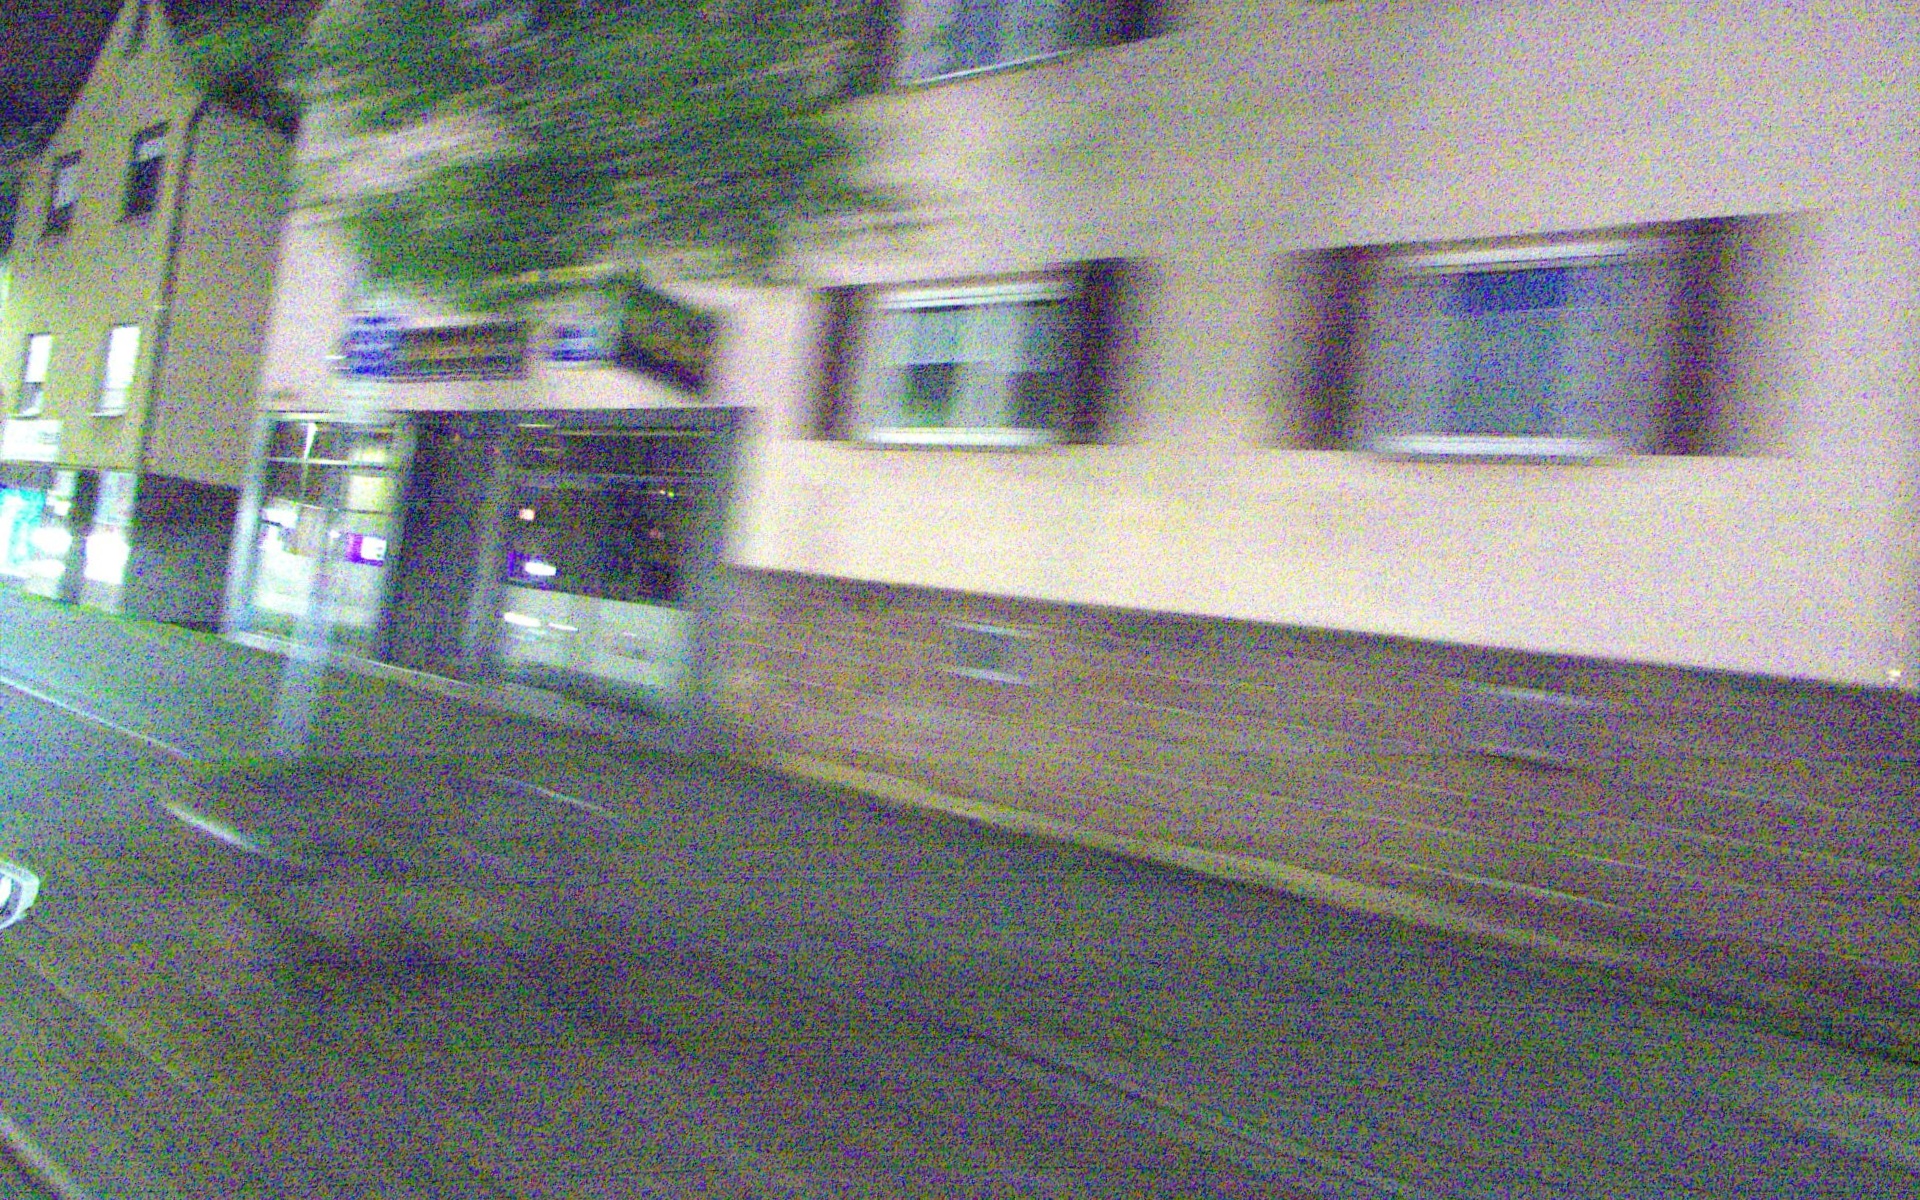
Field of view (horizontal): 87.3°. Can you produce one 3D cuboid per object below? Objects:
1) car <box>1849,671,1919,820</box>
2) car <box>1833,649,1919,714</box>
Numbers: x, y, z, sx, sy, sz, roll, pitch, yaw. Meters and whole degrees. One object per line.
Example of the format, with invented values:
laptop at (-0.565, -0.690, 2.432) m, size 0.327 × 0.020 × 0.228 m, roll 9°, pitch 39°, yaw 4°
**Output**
car at (11.570, 1.735, 11.120) m, size 1.617 × 1.497 × 4.050 m, roll 5°, pitch 2°, yaw 29°
car at (26.451, 2.301, 28.342) m, size 1.718 × 1.501 × 4.050 m, roll 8°, pitch 3°, yaw 28°
